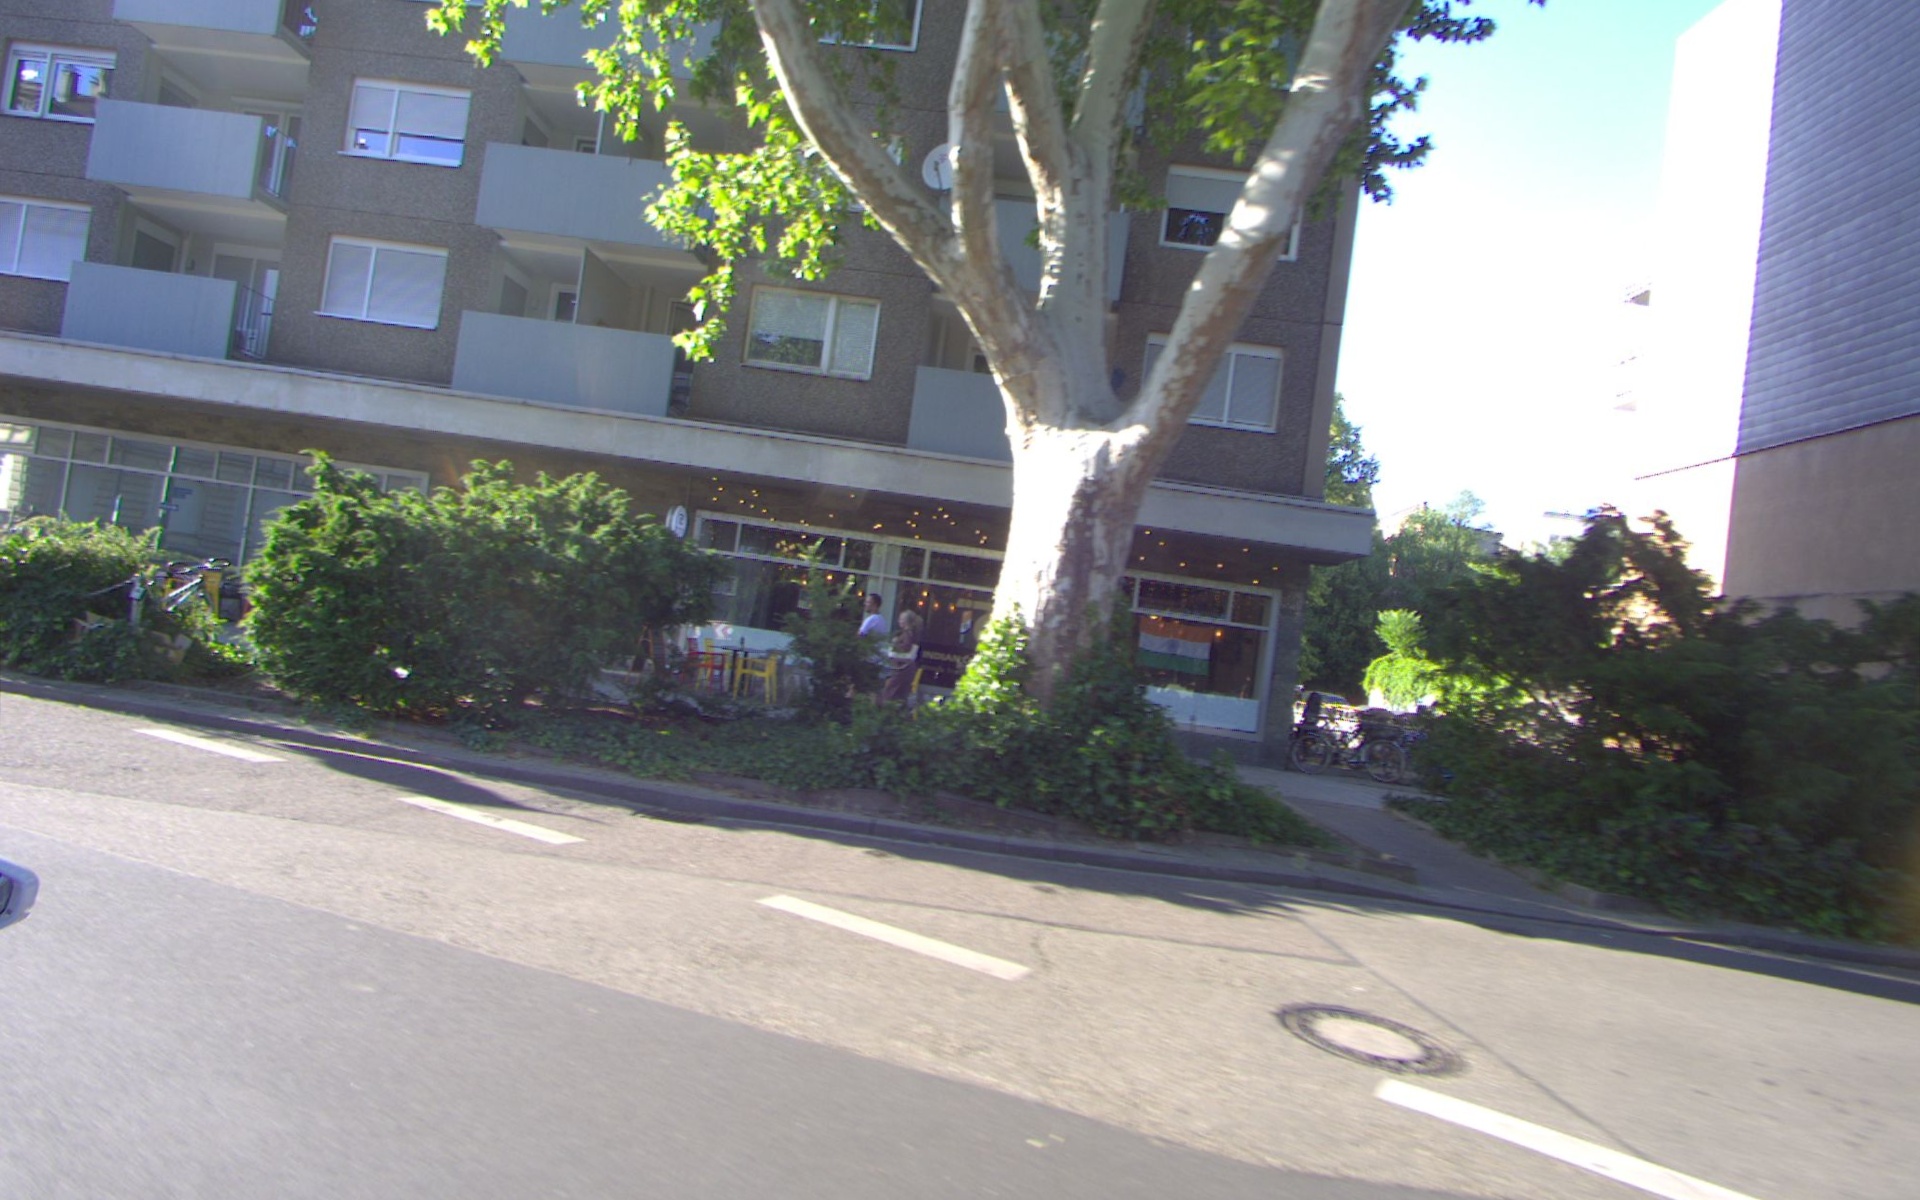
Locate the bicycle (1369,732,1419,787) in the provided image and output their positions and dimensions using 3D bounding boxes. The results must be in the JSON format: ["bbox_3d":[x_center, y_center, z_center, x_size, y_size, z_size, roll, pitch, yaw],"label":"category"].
[{"bbox_3d":[6.903,2.531,16.023,0.267,0.749,0.895,7,-2,-4],"label":"bicycle"}]

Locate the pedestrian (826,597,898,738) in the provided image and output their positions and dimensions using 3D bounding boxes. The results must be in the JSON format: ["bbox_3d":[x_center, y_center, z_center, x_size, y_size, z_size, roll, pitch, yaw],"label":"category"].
[{"bbox_3d":[-1.315,0.914,13.660,0.624,1.794,0.687,7,-1,7],"label":"pedestrian"}]

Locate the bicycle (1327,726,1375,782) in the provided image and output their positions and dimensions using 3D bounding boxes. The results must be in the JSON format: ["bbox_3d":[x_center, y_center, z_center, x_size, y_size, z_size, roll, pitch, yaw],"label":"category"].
[{"bbox_3d":[6.200,2.436,15.980,0.267,0.749,0.895,7,-2,-4],"label":"bicycle"}]

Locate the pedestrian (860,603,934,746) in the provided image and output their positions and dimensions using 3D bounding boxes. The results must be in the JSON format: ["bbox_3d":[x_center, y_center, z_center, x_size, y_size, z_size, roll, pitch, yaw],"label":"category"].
[{"bbox_3d":[-0.799,0.945,12.922,0.632,1.711,0.687,7,-1,7],"label":"pedestrian"}]

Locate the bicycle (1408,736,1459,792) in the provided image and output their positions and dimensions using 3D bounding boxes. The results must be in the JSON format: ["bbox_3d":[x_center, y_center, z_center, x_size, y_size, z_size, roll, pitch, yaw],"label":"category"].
[{"bbox_3d":[7.546,2.604,16.055,0.267,0.749,0.895,7,-2,-4],"label":"bicycle"}]

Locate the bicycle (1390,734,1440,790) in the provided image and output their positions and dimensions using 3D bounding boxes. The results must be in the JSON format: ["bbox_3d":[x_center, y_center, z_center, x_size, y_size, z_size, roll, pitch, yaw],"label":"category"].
[{"bbox_3d":[7.238,2.574,16.029,0.267,0.749,0.895,7,-2,-4],"label":"bicycle"}]

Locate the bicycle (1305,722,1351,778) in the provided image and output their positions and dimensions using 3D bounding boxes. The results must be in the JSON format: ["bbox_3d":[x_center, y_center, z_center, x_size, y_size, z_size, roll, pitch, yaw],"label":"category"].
[{"bbox_3d":[5.839,2.373,15.994,0.267,0.749,0.895,7,-2,-4],"label":"bicycle"}]

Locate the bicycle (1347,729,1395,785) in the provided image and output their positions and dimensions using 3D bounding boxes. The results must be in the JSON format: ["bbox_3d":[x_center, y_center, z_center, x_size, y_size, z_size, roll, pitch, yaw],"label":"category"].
[{"bbox_3d":[6.521,2.481,15.994,0.267,0.749,0.895,7,-2,-4],"label":"bicycle"}]

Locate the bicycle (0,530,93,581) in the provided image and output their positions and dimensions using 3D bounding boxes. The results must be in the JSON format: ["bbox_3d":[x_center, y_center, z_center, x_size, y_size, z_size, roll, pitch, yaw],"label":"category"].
[{"bbox_3d":[-21.040,-1.012,23.103,1.621,0.909,0.645,7,-1,3],"label":"bicycle"}]

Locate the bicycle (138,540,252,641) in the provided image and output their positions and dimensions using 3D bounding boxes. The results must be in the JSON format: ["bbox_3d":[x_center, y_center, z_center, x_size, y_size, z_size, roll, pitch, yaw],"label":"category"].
[{"bbox_3d":[-9.004,-0.109,11.852,1.032,1.050,0.350,7,-1,9],"label":"bicycle"}]
